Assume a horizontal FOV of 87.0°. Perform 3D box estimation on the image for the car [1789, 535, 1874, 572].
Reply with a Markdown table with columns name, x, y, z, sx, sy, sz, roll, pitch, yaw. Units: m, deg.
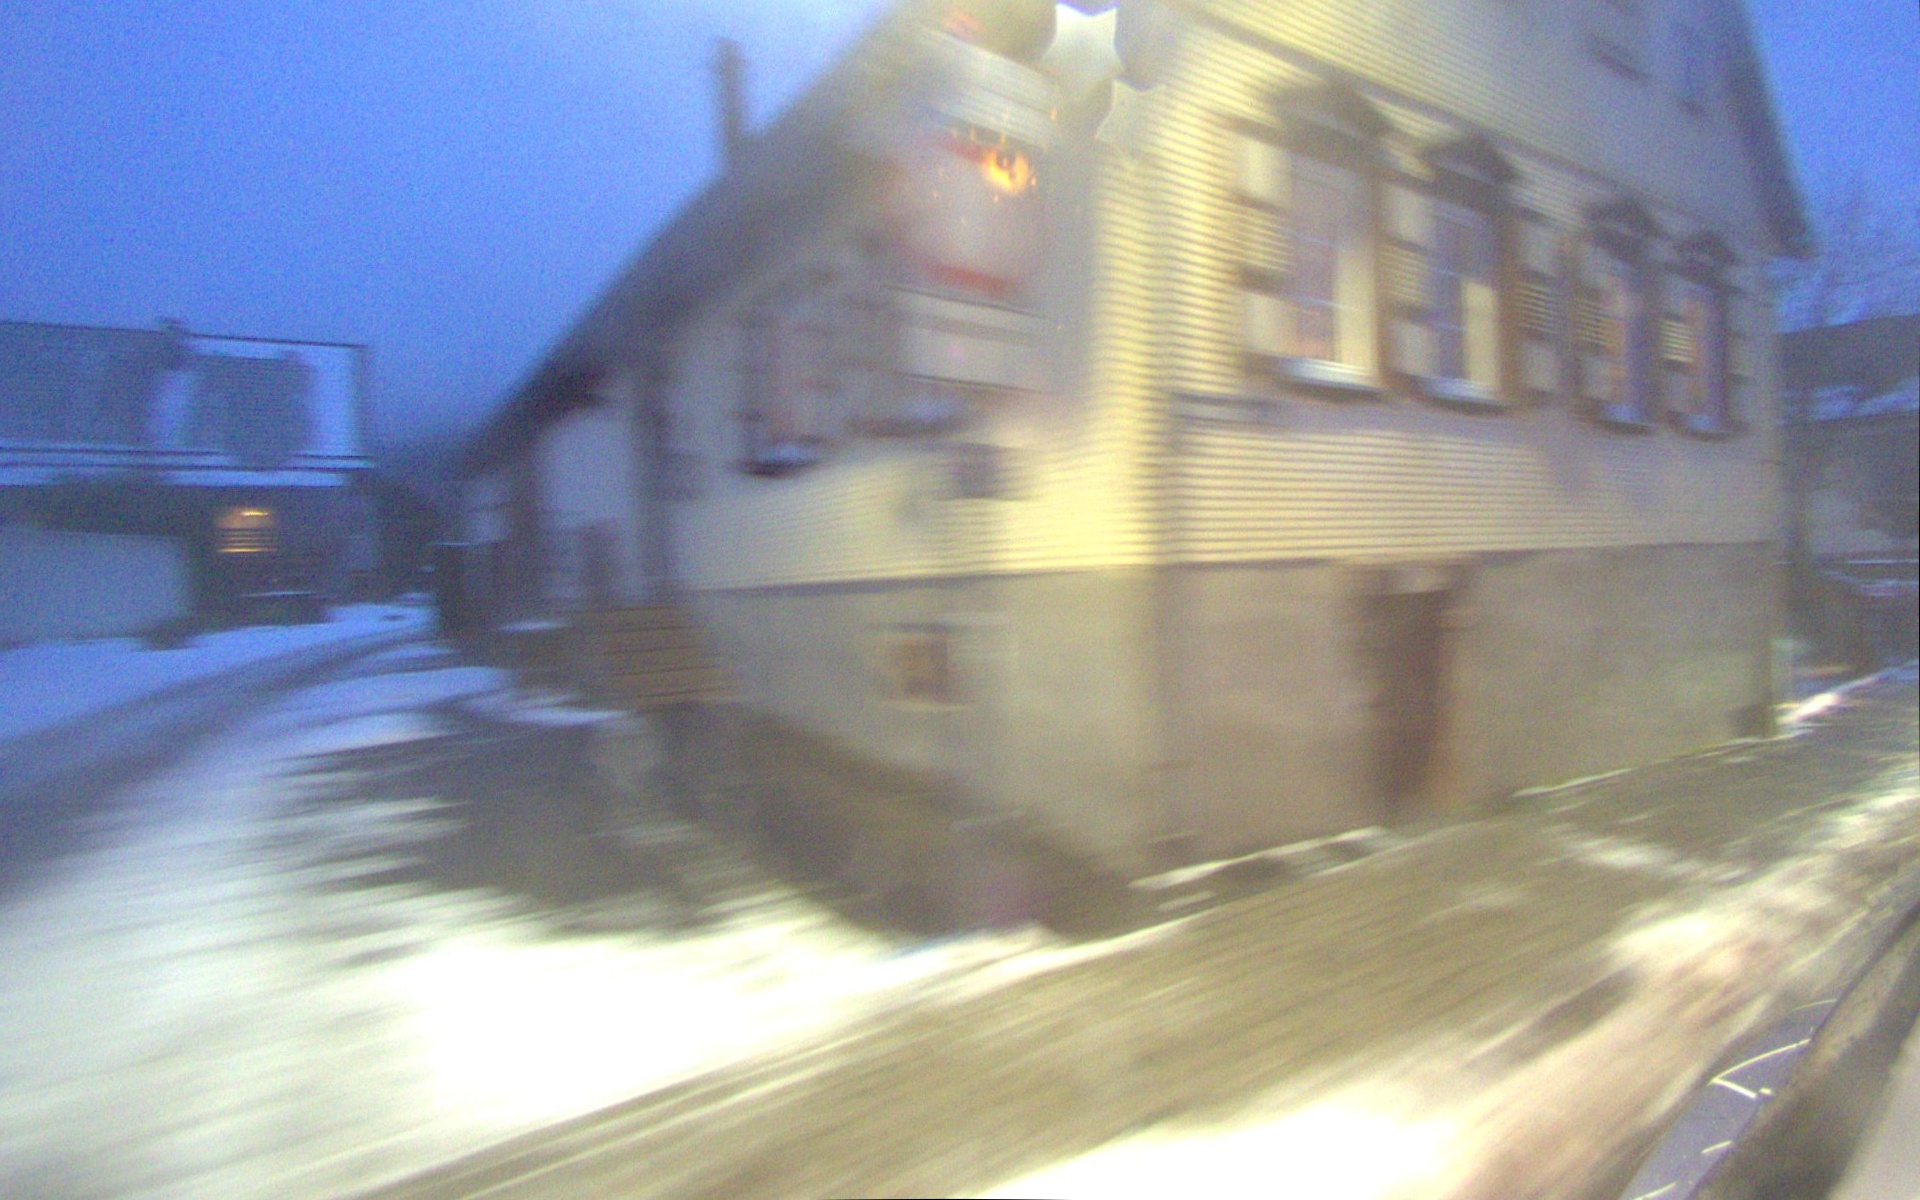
| name | x | y | z | sx | sy | sz | roll | pitch | yaw |
| --- | --- | --- | --- | --- | --- | --- | --- | --- | --- |
| car | 39.123 | -2.111 | 45.520 | 1.736 | 1.429 | 4.053 | -1 | 4 | 23 |
